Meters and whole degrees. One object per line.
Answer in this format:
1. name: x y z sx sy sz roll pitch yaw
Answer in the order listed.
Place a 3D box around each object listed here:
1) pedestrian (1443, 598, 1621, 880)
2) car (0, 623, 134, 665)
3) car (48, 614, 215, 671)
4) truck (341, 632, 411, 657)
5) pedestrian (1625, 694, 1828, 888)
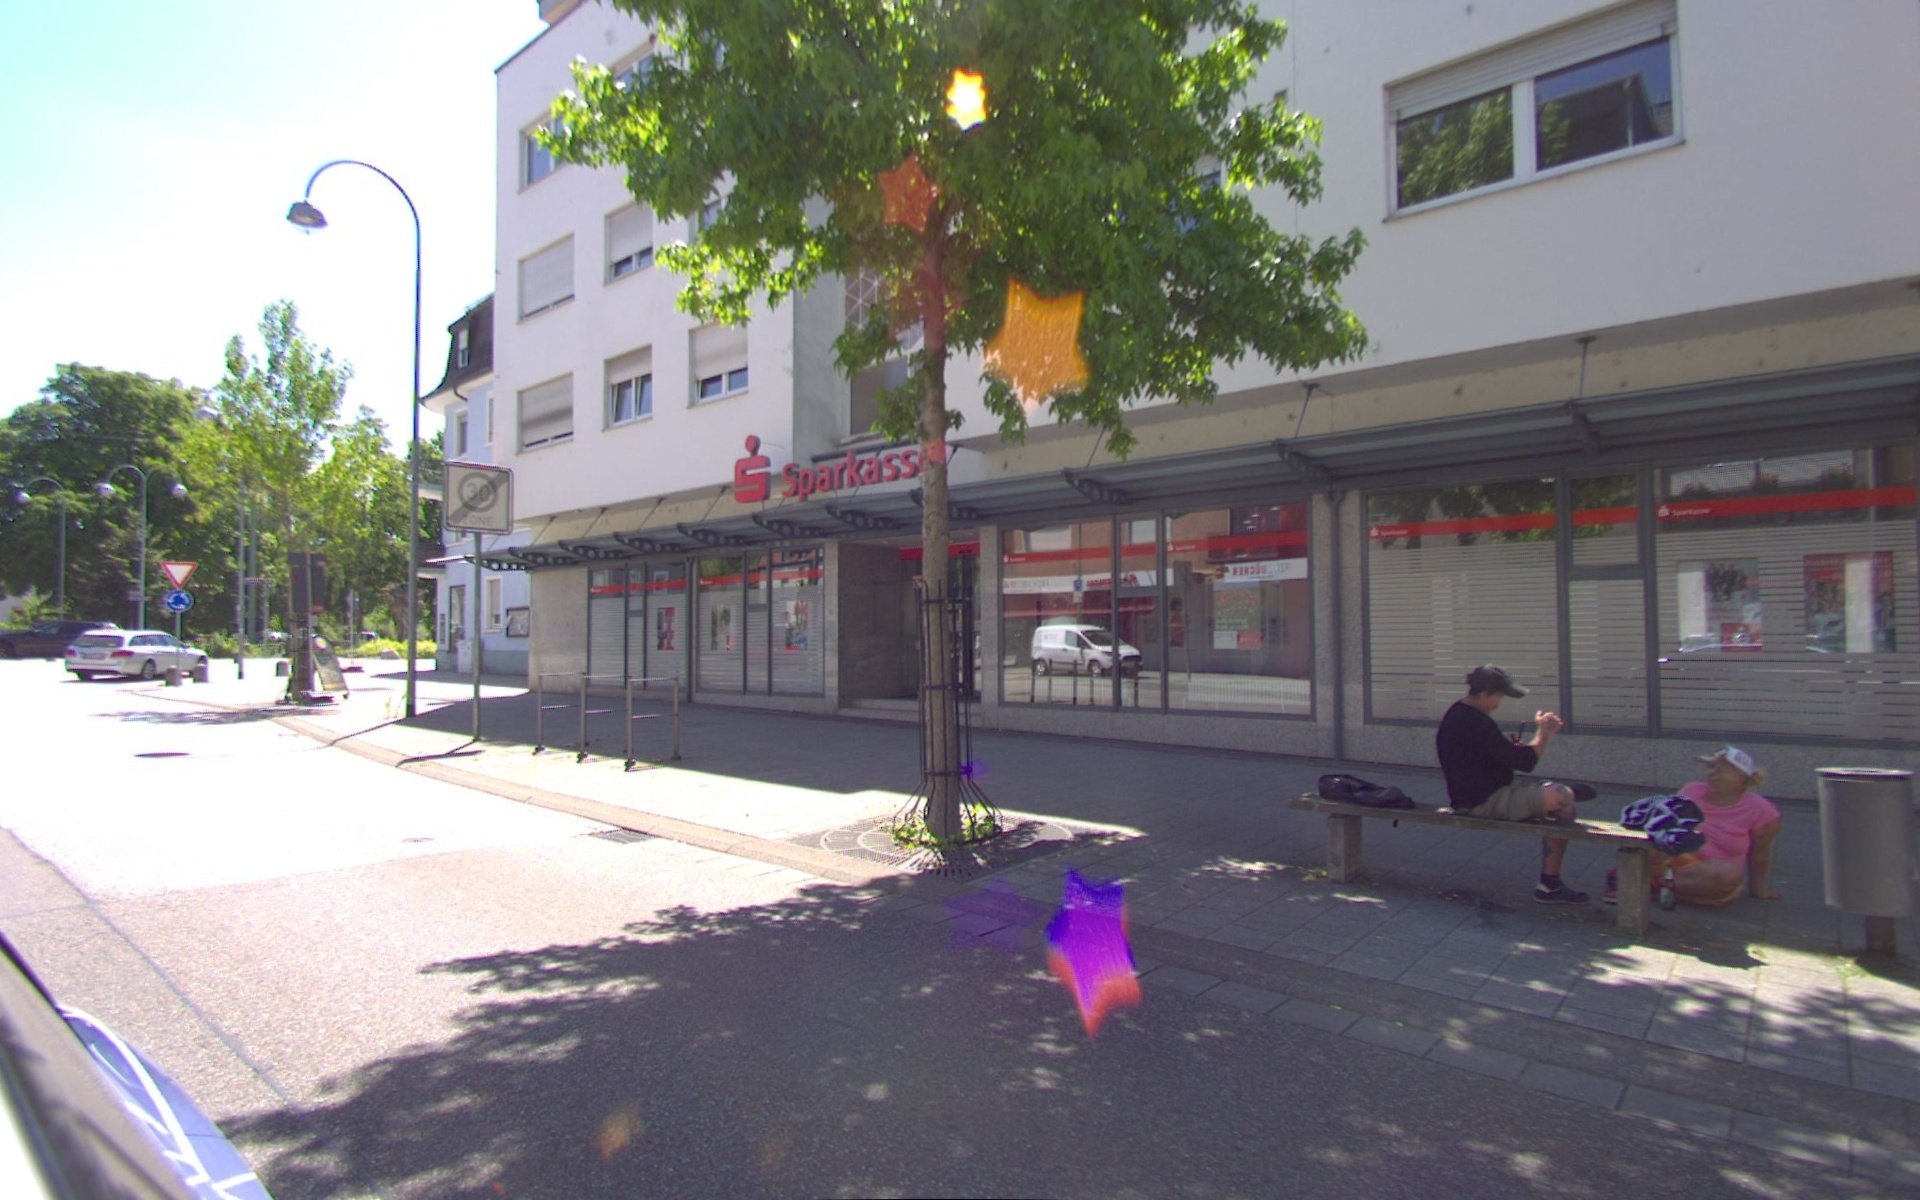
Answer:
1. pedestrian: 3.056 0.692 5.416 0.560 1.382 0.668 1 -2 -40
2. car: -37.209 1.804 41.752 4.539 1.597 1.954 0 -4 -29
3. car: -25.516 1.314 31.443 1.967 1.605 5.011 1 -2 -13
4. truck: -62.022 4.761 107.581 6.112 2.462 2.271 -1 -4 -18
5. pedestrian: 4.196 1.002 5.553 0.656 0.864 0.734 1 1 -40
